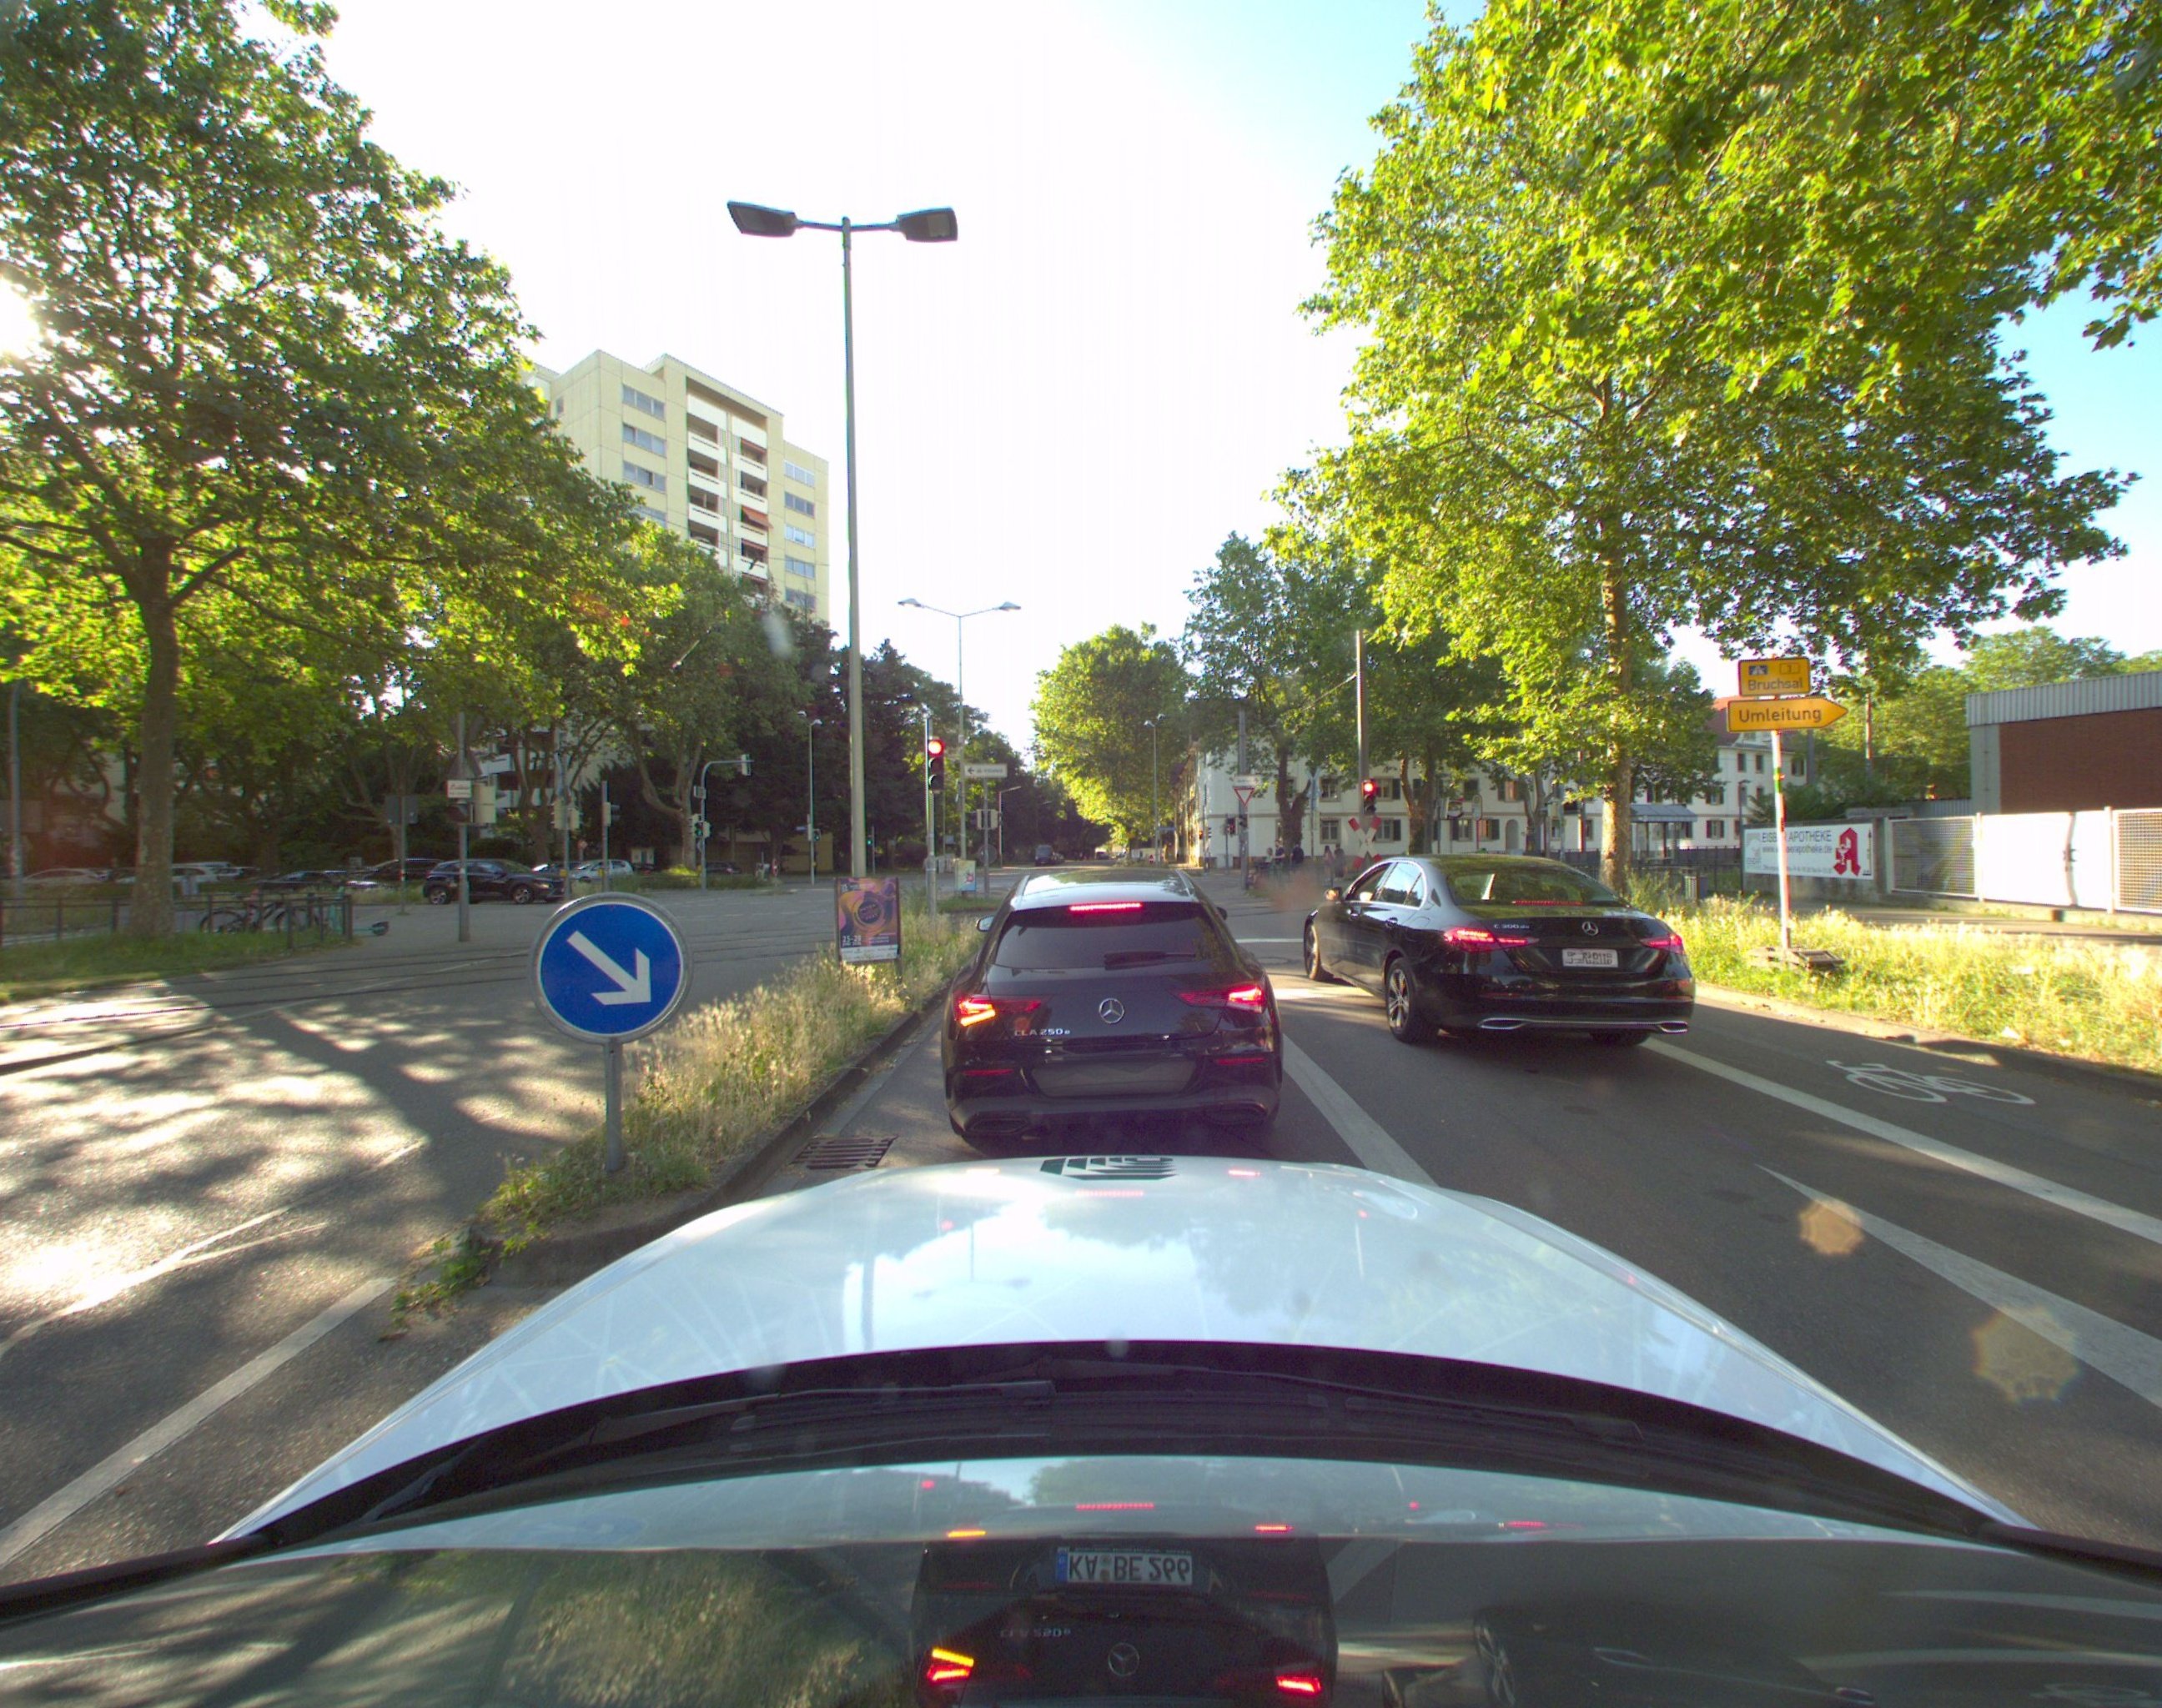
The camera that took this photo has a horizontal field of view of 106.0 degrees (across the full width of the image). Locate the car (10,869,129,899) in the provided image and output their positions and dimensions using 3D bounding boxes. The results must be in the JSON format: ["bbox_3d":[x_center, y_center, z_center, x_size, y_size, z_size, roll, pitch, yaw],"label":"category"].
[{"bbox_3d":[-57.106,1.652,46.064,1.716,1.596,4.025,-1,-1,32],"label":"car"}]

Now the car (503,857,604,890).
[{"bbox_3d":[-27.224,0.966,42.153,1.716,1.596,4.025,-1,-1,32],"label":"car"}]

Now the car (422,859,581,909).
[{"bbox_3d":[-19.370,0.967,27.382,3.981,1.596,1.735,0,-1,-5],"label":"car"}]

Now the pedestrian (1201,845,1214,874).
[{"bbox_3d":[8.411,0.359,54.013,0.703,1.918,0.838,0,-1,-2],"label":"pedestrian"}]

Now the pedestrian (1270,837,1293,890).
[{"bbox_3d":[7.408,0.340,30.076,0.680,1.918,0.707,0,-1,0],"label":"pedestrian"}]

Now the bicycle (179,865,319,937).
[{"bbox_3d":[-15.956,0.877,15.662,1.845,1.307,0.380,0,-1,-26],"label":"bicycle"}]

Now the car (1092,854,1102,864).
[{"bbox_3d":[2.905,0.977,150.534,1.727,1.765,4.020,0,-1,2],"label":"car"}]

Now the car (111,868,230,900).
[{"bbox_3d":[-49.165,1.576,44.061,1.716,1.596,4.025,-1,-1,32],"label":"car"}]

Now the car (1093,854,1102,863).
[{"bbox_3d":[3.235,0.899,158.617,1.727,1.765,4.020,0,-1,2],"label":"car"}]

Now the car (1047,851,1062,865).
[{"bbox_3d":[-3.549,0.526,109.237,1.727,1.765,4.343,0,-1,2],"label":"car"}]

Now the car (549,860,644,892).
[{"bbox_3d":[-24.928,1.095,42.018,1.716,1.596,3.831,-1,-1,32],"label":"car"}]

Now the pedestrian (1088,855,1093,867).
[{"bbox_3d":[1.529,1.049,130.193,0.704,1.918,0.837,0,-1,-8],"label":"pedestrian"}]

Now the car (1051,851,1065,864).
[{"bbox_3d":[-3.283,0.518,117.108,1.727,1.765,4.087,0,-1,2],"label":"car"}]

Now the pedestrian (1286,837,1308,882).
[{"bbox_3d":[9.316,0.252,35.201,0.703,1.918,0.838,0,-1,-2],"label":"pedestrian"}]

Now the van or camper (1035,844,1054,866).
[{"bbox_3d":[-4.426,0.125,100.043,1.986,2.541,4.653,0,-1,2],"label":"van or camper"}]

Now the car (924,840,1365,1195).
[{"bbox_3d":[0.381,0.670,5.503,1.881,1.450,4.004,0,2,3],"label":"car"}]

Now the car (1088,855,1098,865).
[{"bbox_3d":[2.094,1.005,145.729,1.727,1.765,4.020,0,-1,2],"label":"car"}]

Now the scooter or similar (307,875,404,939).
[{"bbox_3d":[-15.096,1.077,16.975,0.408,1.239,1.450,-1,-1,40],"label":"scooter or similar"}]

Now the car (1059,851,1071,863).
[{"bbox_3d":[-2.483,0.459,126.674,1.727,1.765,3.972,0,-1,2],"label":"car"}]

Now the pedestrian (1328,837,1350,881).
[{"bbox_3d":[11.569,0.228,36.533,0.703,1.918,0.838,0,-1,-2],"label":"pedestrian"}]

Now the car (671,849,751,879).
[{"bbox_3d":[-22.646,0.627,49.918,3.963,1.774,2.005,0,-1,9],"label":"car"}]

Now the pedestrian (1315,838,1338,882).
[{"bbox_3d":[10.718,0.256,35.552,0.703,1.918,0.838,0,-1,-2],"label":"pedestrian"}]

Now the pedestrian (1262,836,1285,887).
[{"bbox_3d":[7.284,0.294,30.852,0.681,1.918,0.707,0,-1,-2],"label":"pedestrian"}]

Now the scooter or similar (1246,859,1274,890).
[{"bbox_3d":[6.615,0.753,30.080,0.826,1.104,0.808,0,-1,-4],"label":"scooter or similar"}]

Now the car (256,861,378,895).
[{"bbox_3d":[-37.419,1.135,39.989,1.716,1.596,4.025,-1,-1,32],"label":"car"}]

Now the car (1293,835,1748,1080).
[{"bbox_3d":[3.318,0.601,7.306,1.882,1.490,4.385,0,2,3],"label":"car"}]
